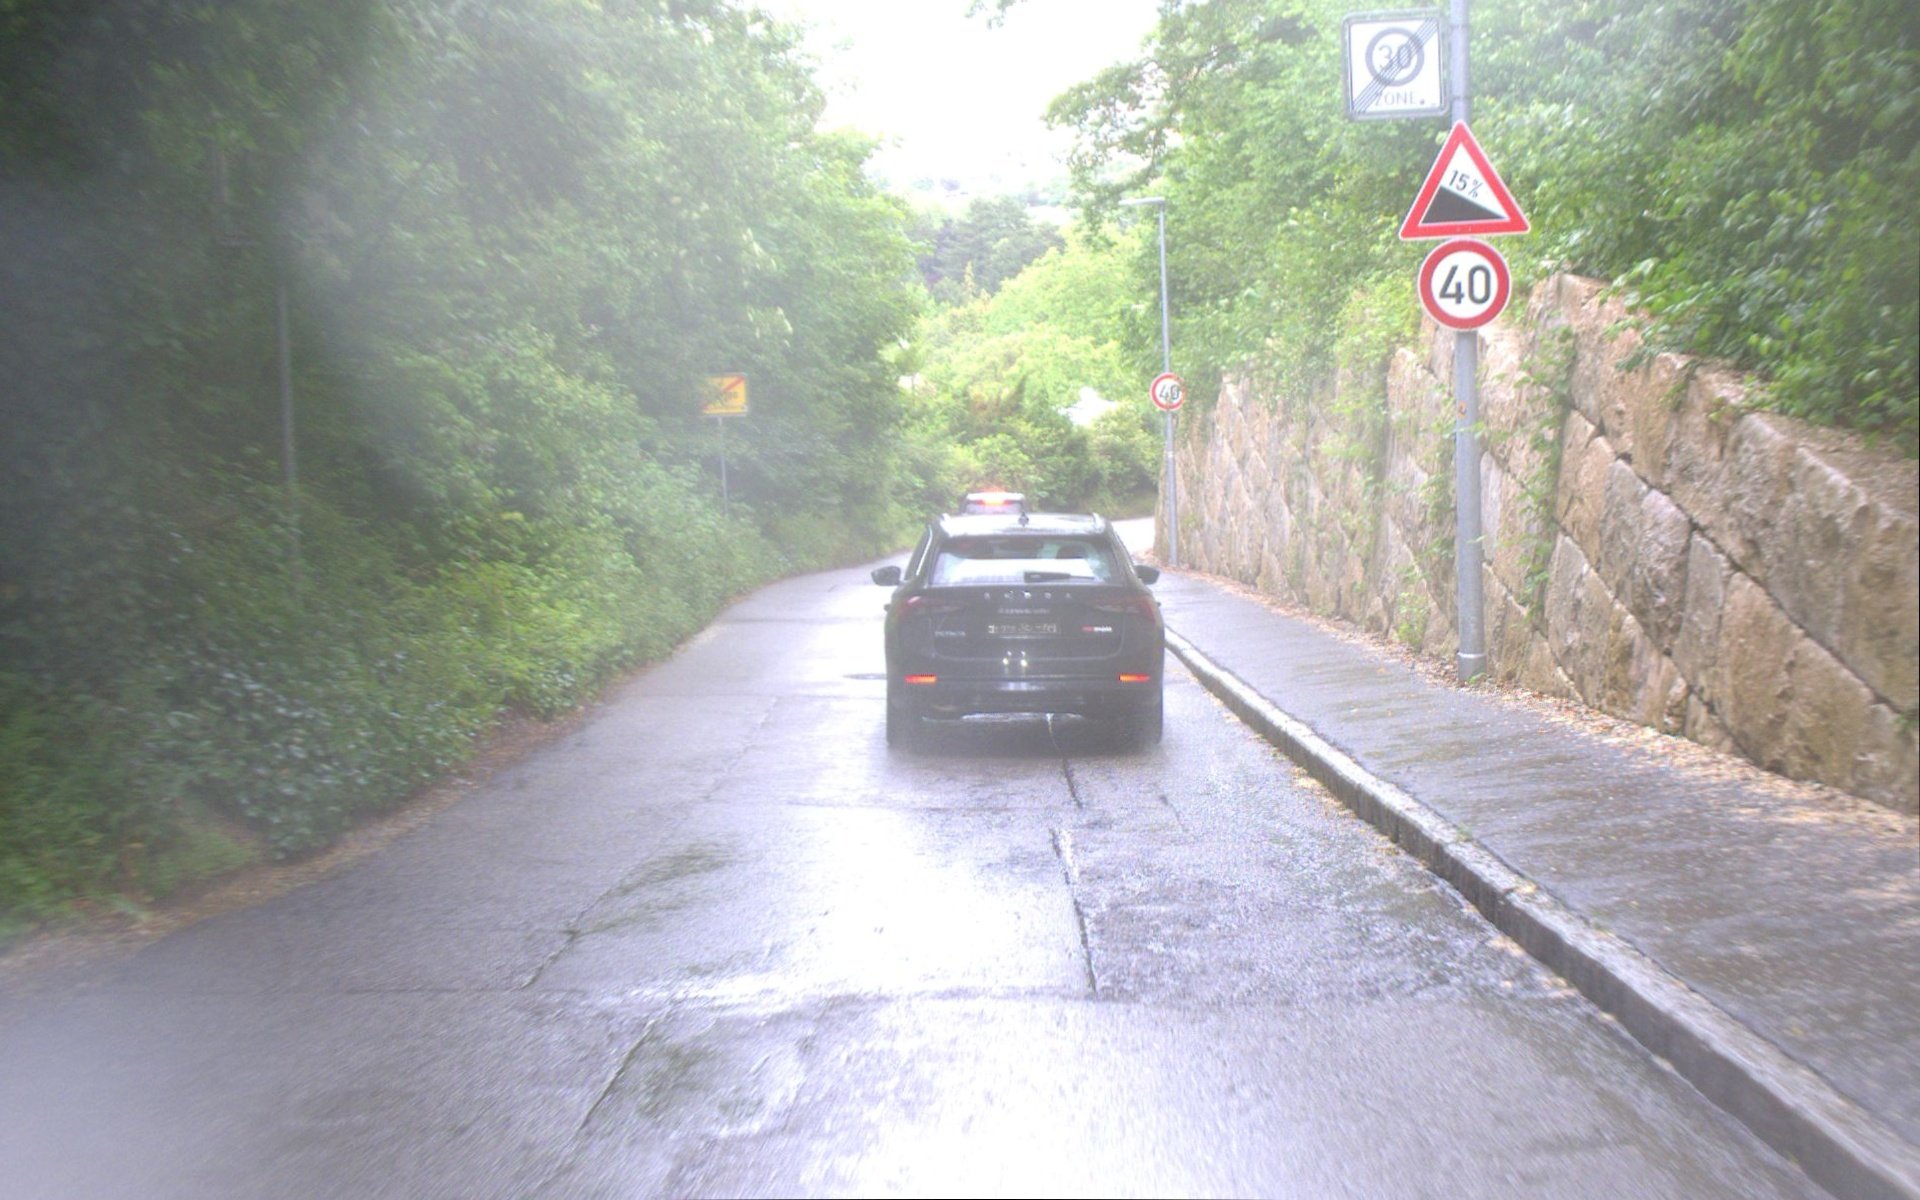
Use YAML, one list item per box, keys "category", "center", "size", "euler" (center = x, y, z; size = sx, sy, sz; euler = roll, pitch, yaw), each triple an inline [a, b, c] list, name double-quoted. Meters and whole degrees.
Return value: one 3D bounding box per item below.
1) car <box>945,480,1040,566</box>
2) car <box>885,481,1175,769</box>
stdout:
- category: "car"
  center: [0.656, -1.647, 72.833]
  size: [1.863, 1.737, 4.001]
  euler: [1, 2, -1]
- category: "car"
  center: [0.379, 0.082, 22.627]
  size: [1.699, 1.445, 4.002]
  euler: [-2, 5, -1]
